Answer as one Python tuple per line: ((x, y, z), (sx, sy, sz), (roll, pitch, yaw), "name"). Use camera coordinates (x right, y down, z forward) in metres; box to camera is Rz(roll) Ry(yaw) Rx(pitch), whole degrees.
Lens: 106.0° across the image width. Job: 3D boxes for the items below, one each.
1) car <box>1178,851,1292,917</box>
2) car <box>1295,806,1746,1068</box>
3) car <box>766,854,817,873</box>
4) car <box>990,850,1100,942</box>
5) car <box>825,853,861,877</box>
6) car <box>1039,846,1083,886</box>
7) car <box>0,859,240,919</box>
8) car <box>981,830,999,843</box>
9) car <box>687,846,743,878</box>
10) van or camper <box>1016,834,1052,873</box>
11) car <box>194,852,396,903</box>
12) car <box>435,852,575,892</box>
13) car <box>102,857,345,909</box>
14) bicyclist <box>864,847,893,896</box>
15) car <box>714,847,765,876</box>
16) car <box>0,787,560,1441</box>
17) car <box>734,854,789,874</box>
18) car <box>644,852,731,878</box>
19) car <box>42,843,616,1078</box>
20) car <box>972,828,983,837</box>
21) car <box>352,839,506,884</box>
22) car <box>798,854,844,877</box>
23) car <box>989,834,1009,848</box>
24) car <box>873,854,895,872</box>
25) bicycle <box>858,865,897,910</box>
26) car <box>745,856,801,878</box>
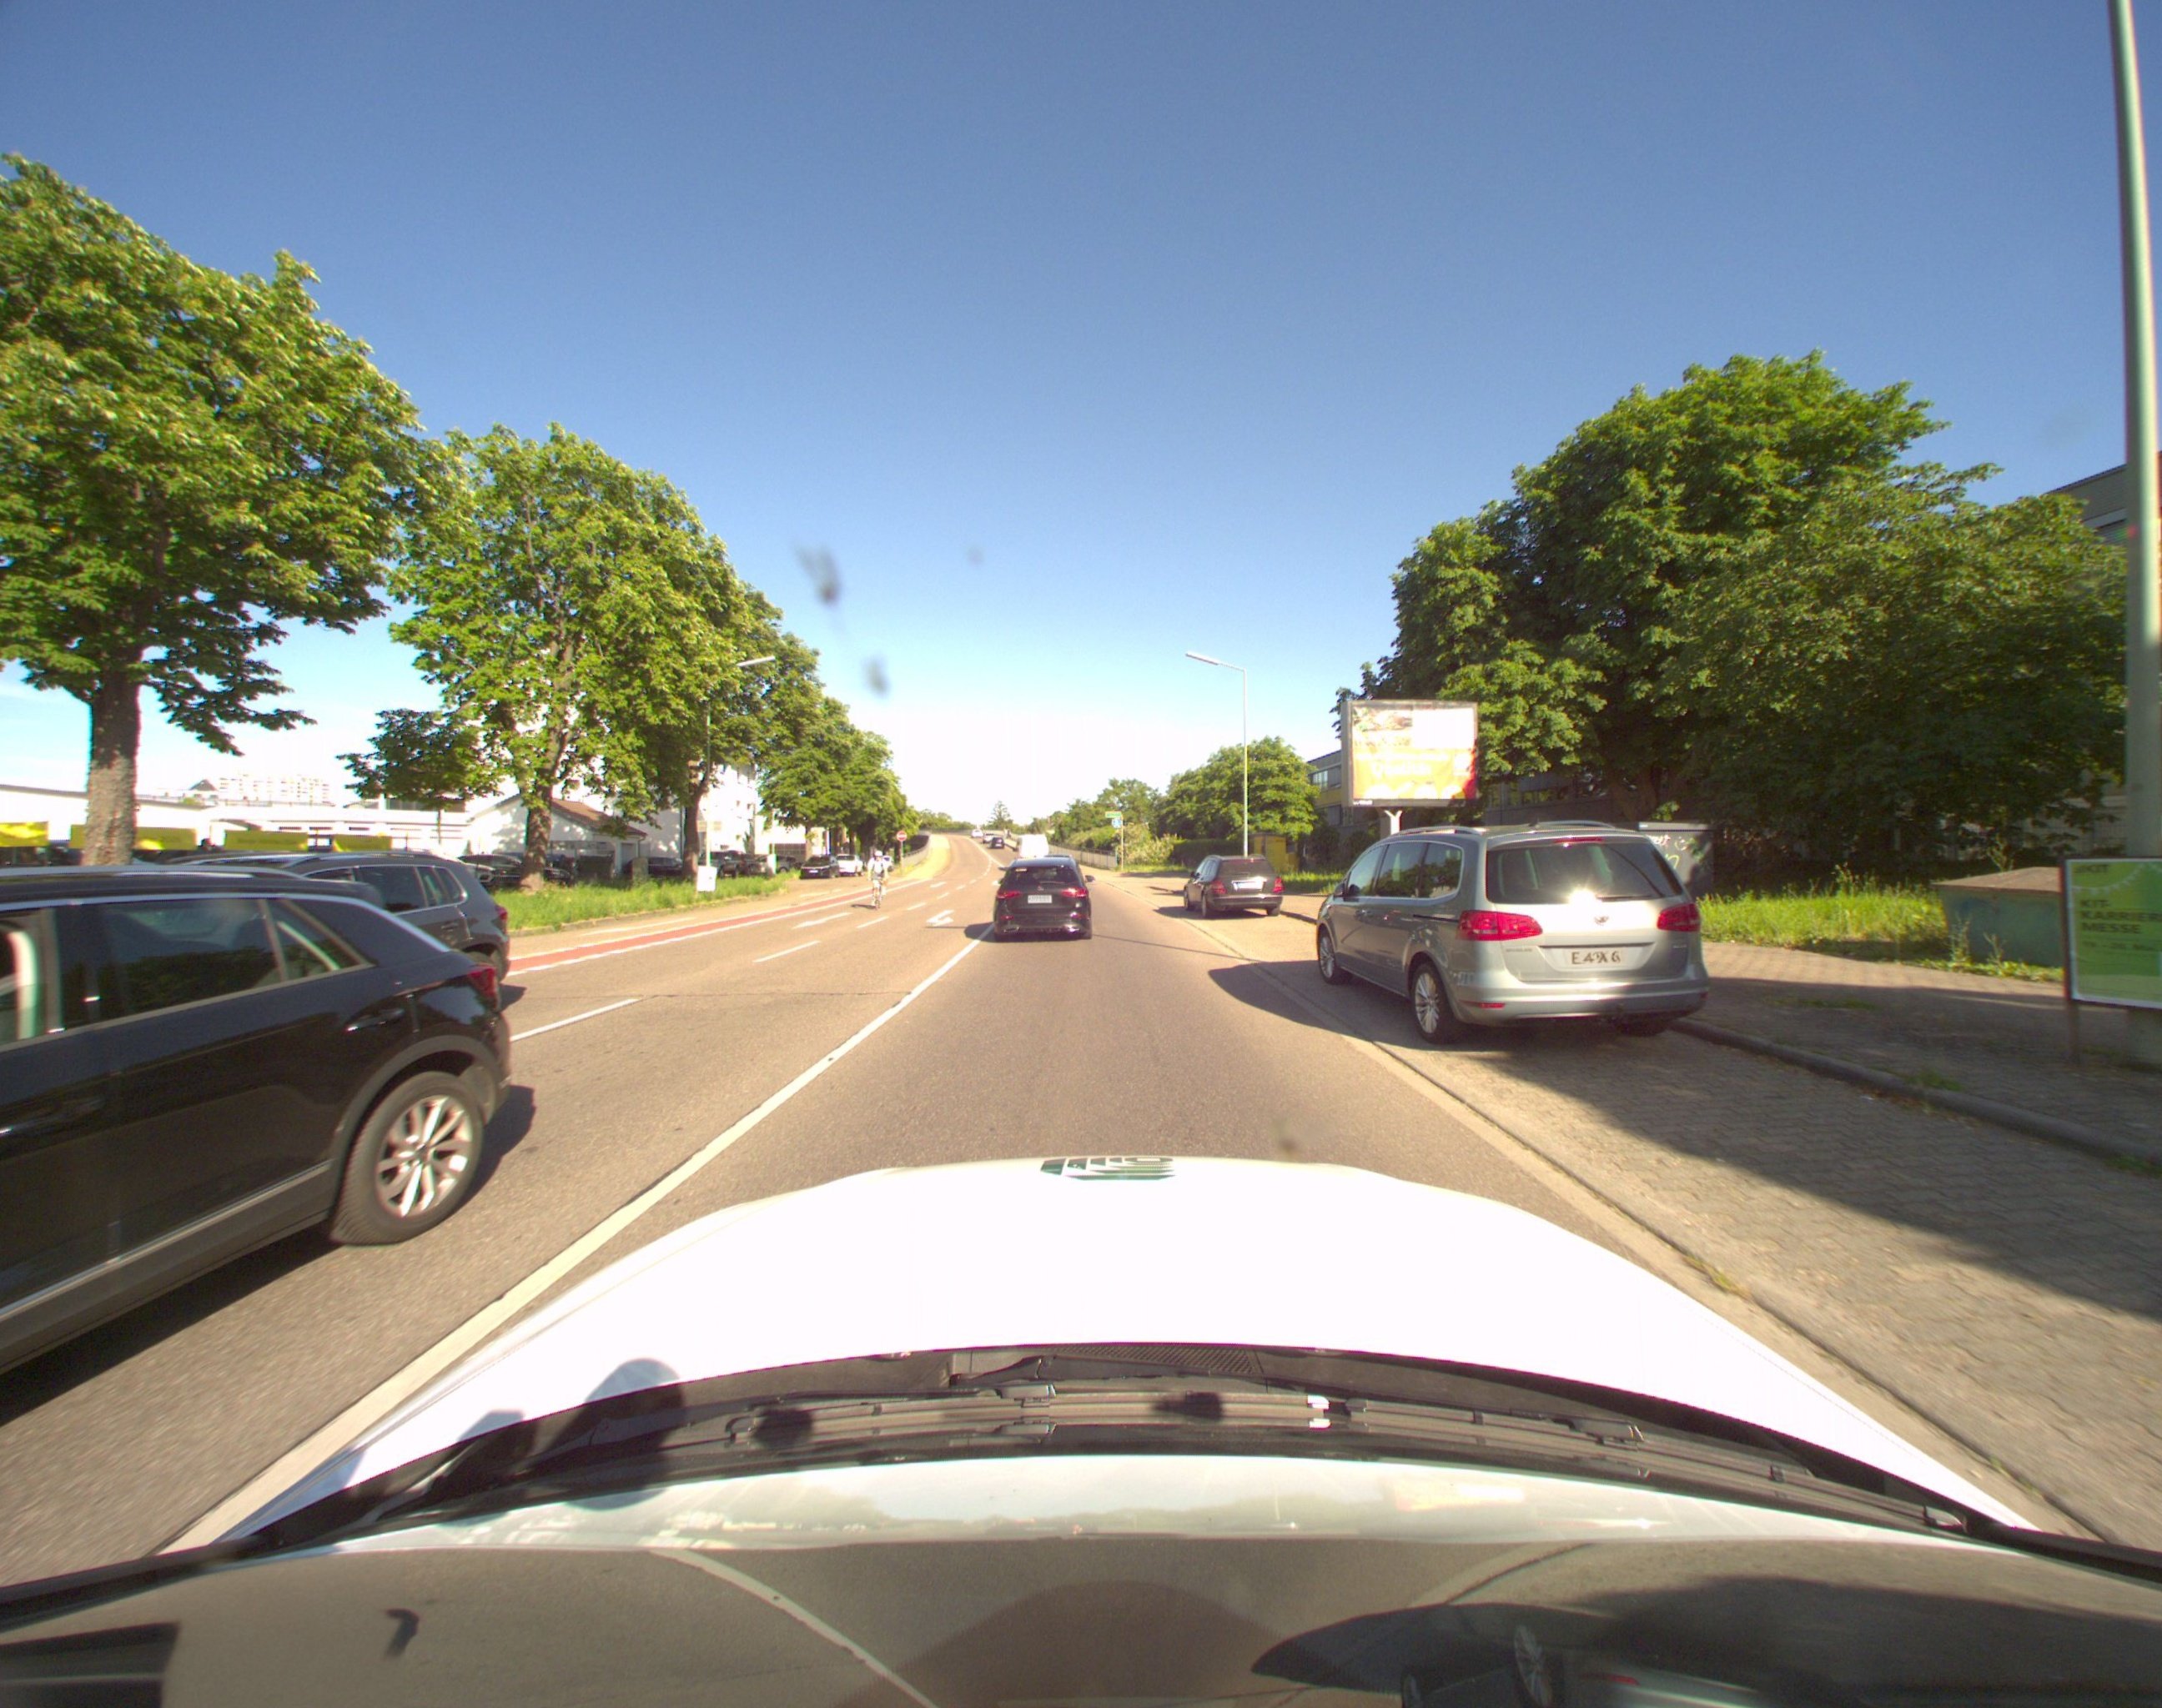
((3.651, 0.640, 20.102), (1.804, 1.419, 4.420), (-1, 0, -2), "car")
((3.618, 0.579, 7.889), (1.866, 1.722, 4.612), (-2, 0, 1), "car")
((-25.313, 0.842, 71.374), (4.007, 1.584, 1.888), (0, 0, -15), "car")
((-0.581, 0.741, 16.178), (1.762, 1.592, 3.992), (0, 0, 3), "car")
((-18.141, 0.794, 62.227), (2.038, 1.729, 5.218), (1, 0, -10), "car")
((-0.873, 0.513, 35.715), (1.800, 1.640, 3.997), (0, -1, -2), "car")
((-22.697, 0.759, 18.873), (3.937, 1.240, 2.028), (0, 1, -23), "car")
((-12.997, -2.438, 116.392), (1.986, 1.680, 4.001), (-1, 0, 1), "car")
((-23.123, 0.462, 51.660), (1.745, 1.930, 5.091), (0, 0, -7), "car")
((-3.536, -0.086, 60.107), (2.224, 2.739, 7.064), (0, 1, -6), "van or camper")
((-23.287, 0.661, 24.335), (3.881, 1.412, 1.933), (0, 0, -21), "car")
((-23.537, 0.698, 33.504), (4.415, 1.575, 1.799), (0, 0, -25), "car")
((-22.635, 0.730, 21.740), (3.937, 1.240, 2.028), (0, 1, -23), "car")
((-6.221, 0.530, 25.069), (0.772, 1.484, 0.823), (0, 0, -8), "bicyclist")
((-23.778, 0.486, 56.872), (2.068, 1.930, 4.773), (0, 0, -8), "car")
((-3.600, 0.643, 2.135), (1.907, 1.599, 3.998), (0, 0, -1), "car")
((-24.654, 0.748, 62.886), (3.685, 1.510, 1.766), (0, 1, -35), "car")
((-21.684, 0.611, 45.037), (3.990, 1.429, 1.900), (0, -1, -12), "car")
((-6.801, 0.763, 8.196), (1.847, 1.735, 4.268), (0, 1, -2), "car")
((-18.086, -3.789, 142.843), (1.874, 1.543, 3.992), (0, 1, -6), "car")
((-23.960, 0.255, 30.109), (3.995, 1.610, 1.912), (0, 0, -16), "car")
((-17.237, 0.705, 54.183), (2.036, 1.464, 4.948), (0, 0, -8), "car")
((-10.160, -1.600, 101.436), (1.911, 1.488, 4.271), (-1, -1, 1), "car")
((-23.410, 1.035, 96.943), (1.920, 1.991, 4.250), (0, 1, -5), "car")
((-6.202, 0.985, 24.947), (0.792, 1.226, 3.204), (0, 0, -8), "bicycle")
((-24.912, 1.004, 65.867), (4.012, 1.597, 1.981), (-2, 1, -30), "car")
